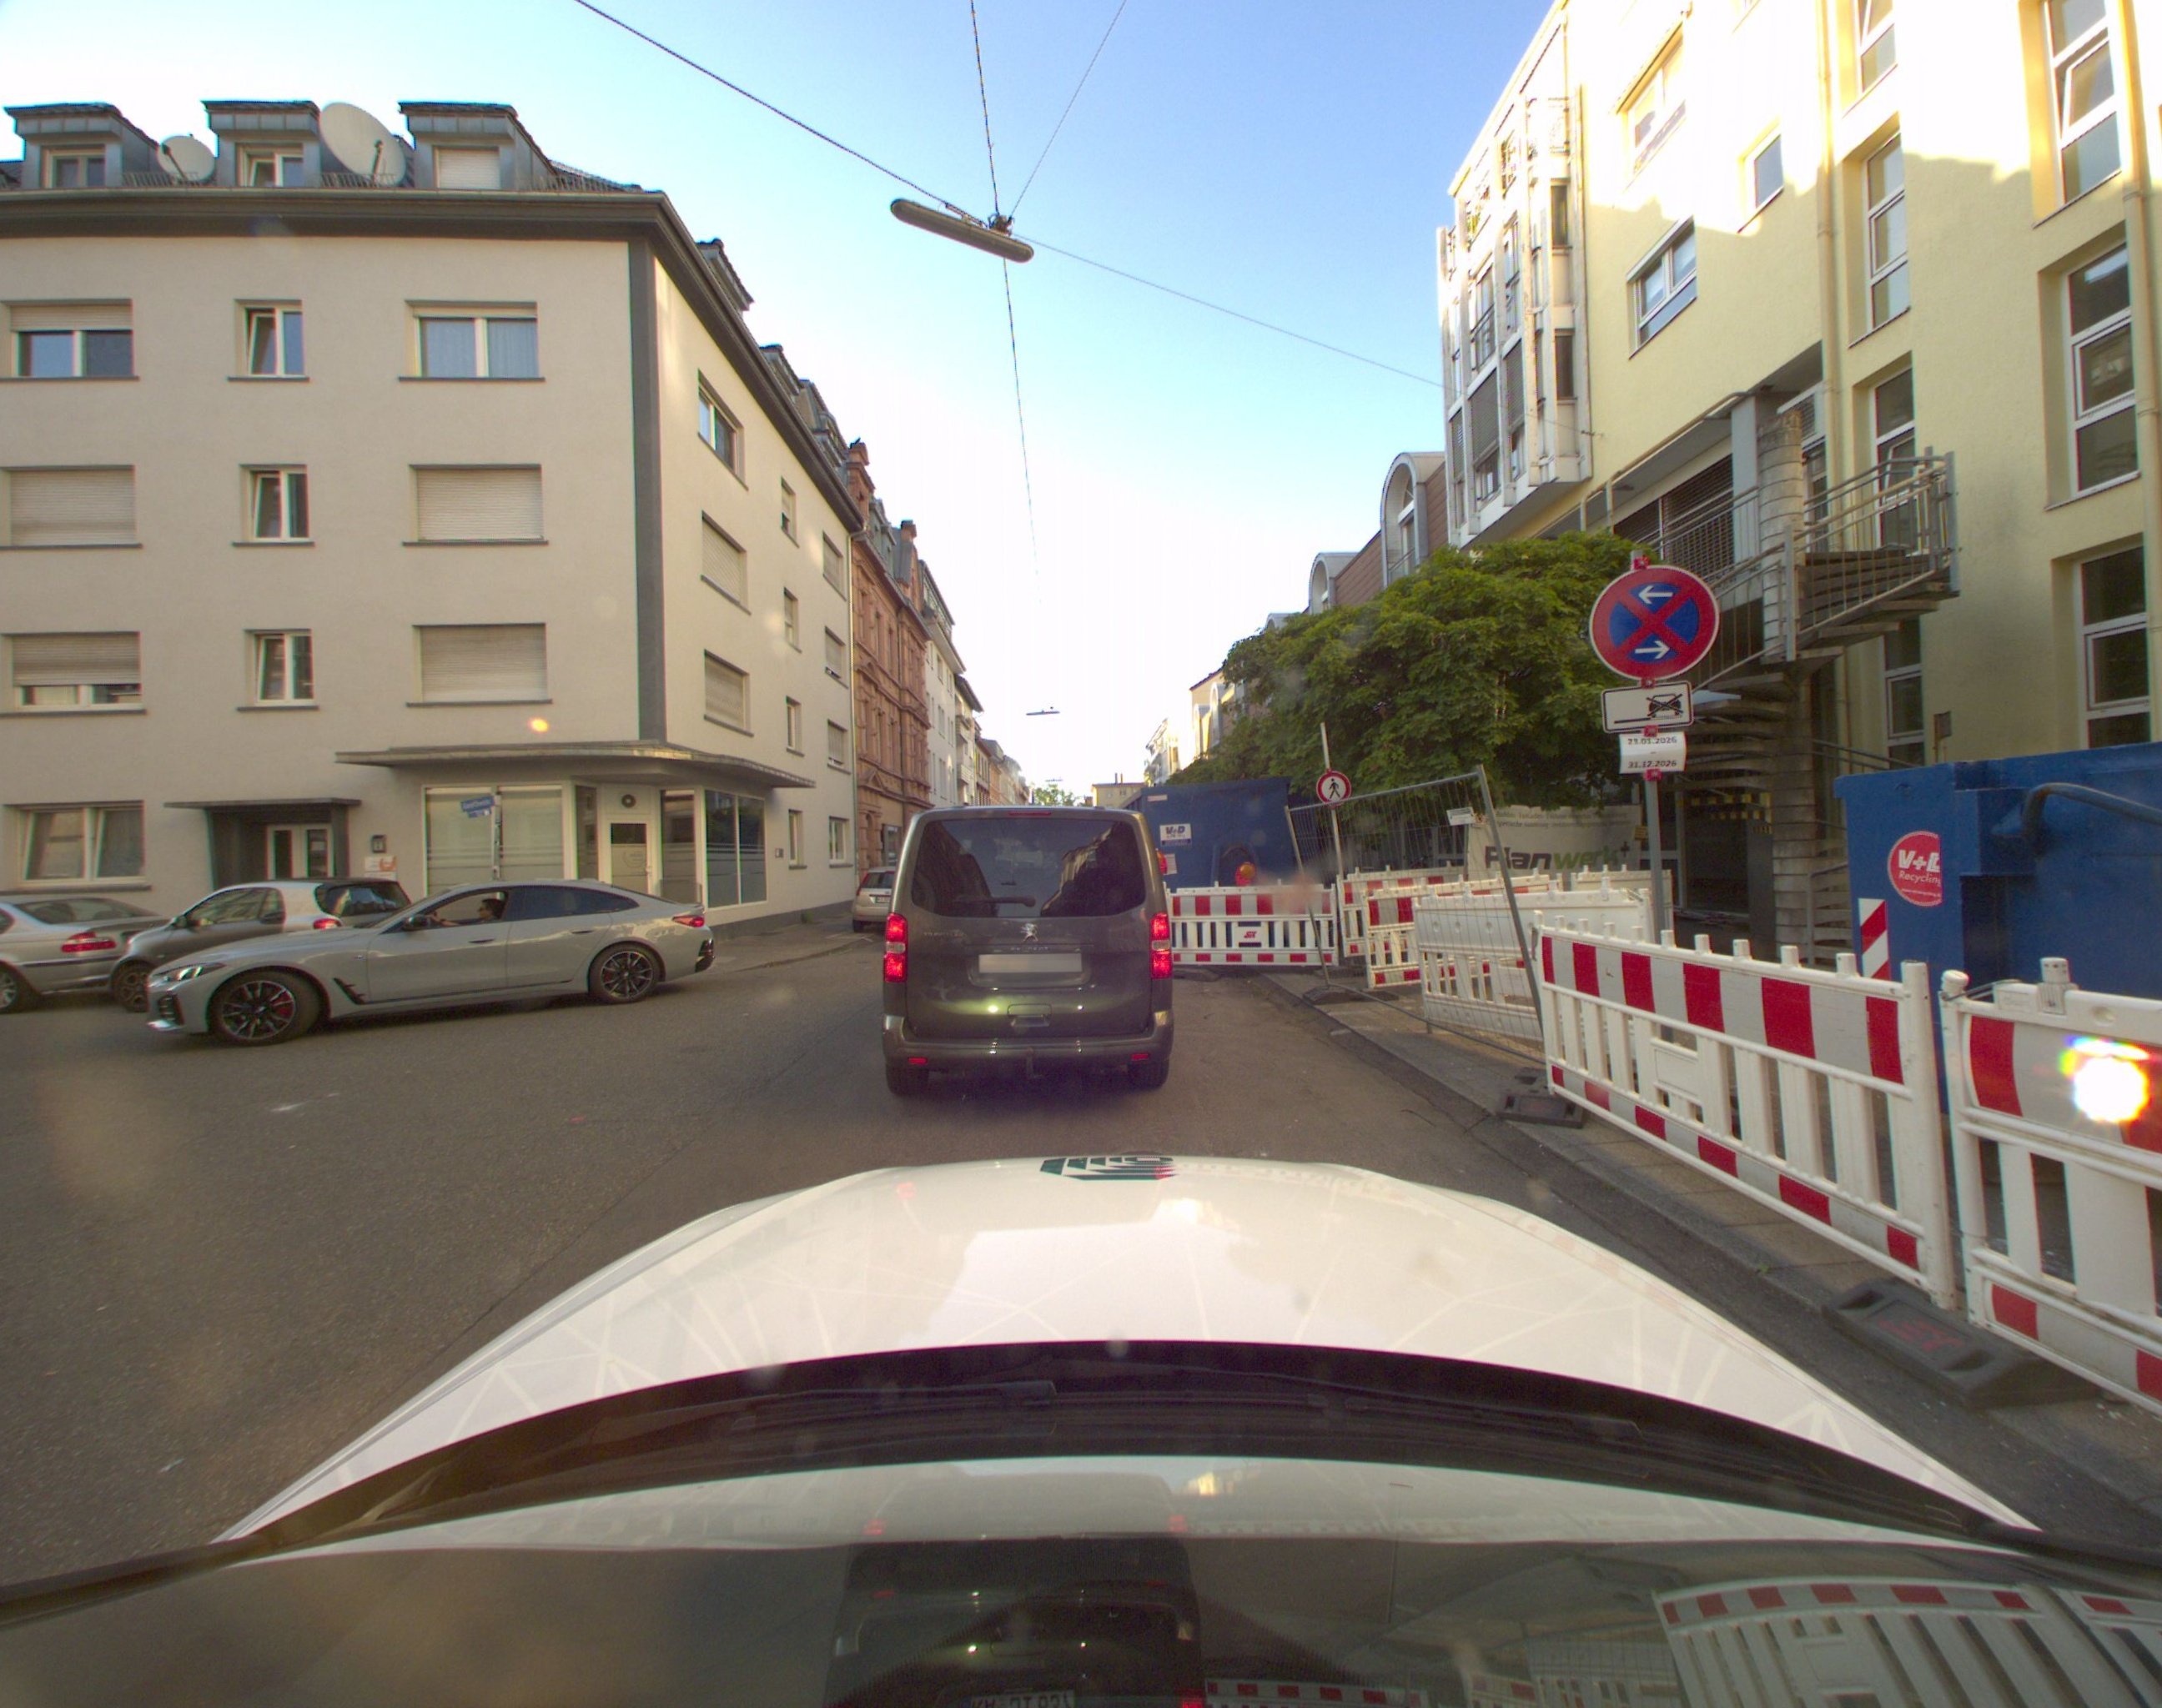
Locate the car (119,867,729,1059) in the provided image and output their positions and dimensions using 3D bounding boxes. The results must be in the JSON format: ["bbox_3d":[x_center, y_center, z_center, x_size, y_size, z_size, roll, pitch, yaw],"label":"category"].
[{"bbox_3d":[-6.746,0.965,9.094,4.834,1.451,1.912,-2,0,-37],"label":"car"}]

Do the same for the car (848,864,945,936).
[{"bbox_3d":[-4.202,1.020,19.026,1.653,1.460,3.412,3,-1,-4],"label":"car"}]

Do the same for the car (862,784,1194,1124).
[{"bbox_3d":[-0.441,0.587,6.764,1.862,1.886,4.228,-1,-1,-4],"label":"car"}]

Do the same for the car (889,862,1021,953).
[{"bbox_3d":[-2.253,0.949,15.415,1.648,1.460,3.421,-3,-2,4],"label":"car"}]

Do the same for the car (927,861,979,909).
[{"bbox_3d":[-4.883,1.165,31.437,1.663,1.666,3.086,3,-1,-4],"label":"car"}]

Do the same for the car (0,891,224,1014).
[{"bbox_3d":[-14.244,1.266,10.663,4.193,1.403,1.602,-1,0,-3],"label":"car"}]

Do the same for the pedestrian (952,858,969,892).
[{"bbox_3d":[-6.117,1.051,41.439,0.739,1.664,0.702,-2,0,-5],"label":"pedestrian"}]

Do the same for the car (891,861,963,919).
[{"bbox_3d":[-4.513,1.033,24.345,1.653,1.525,3.412,3,-1,-4],"label":"car"}]

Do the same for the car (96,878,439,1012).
[{"bbox_3d":[-10.323,1.105,10.513,2.778,1.540,1.593,0,-1,-1],"label":"car"}]
